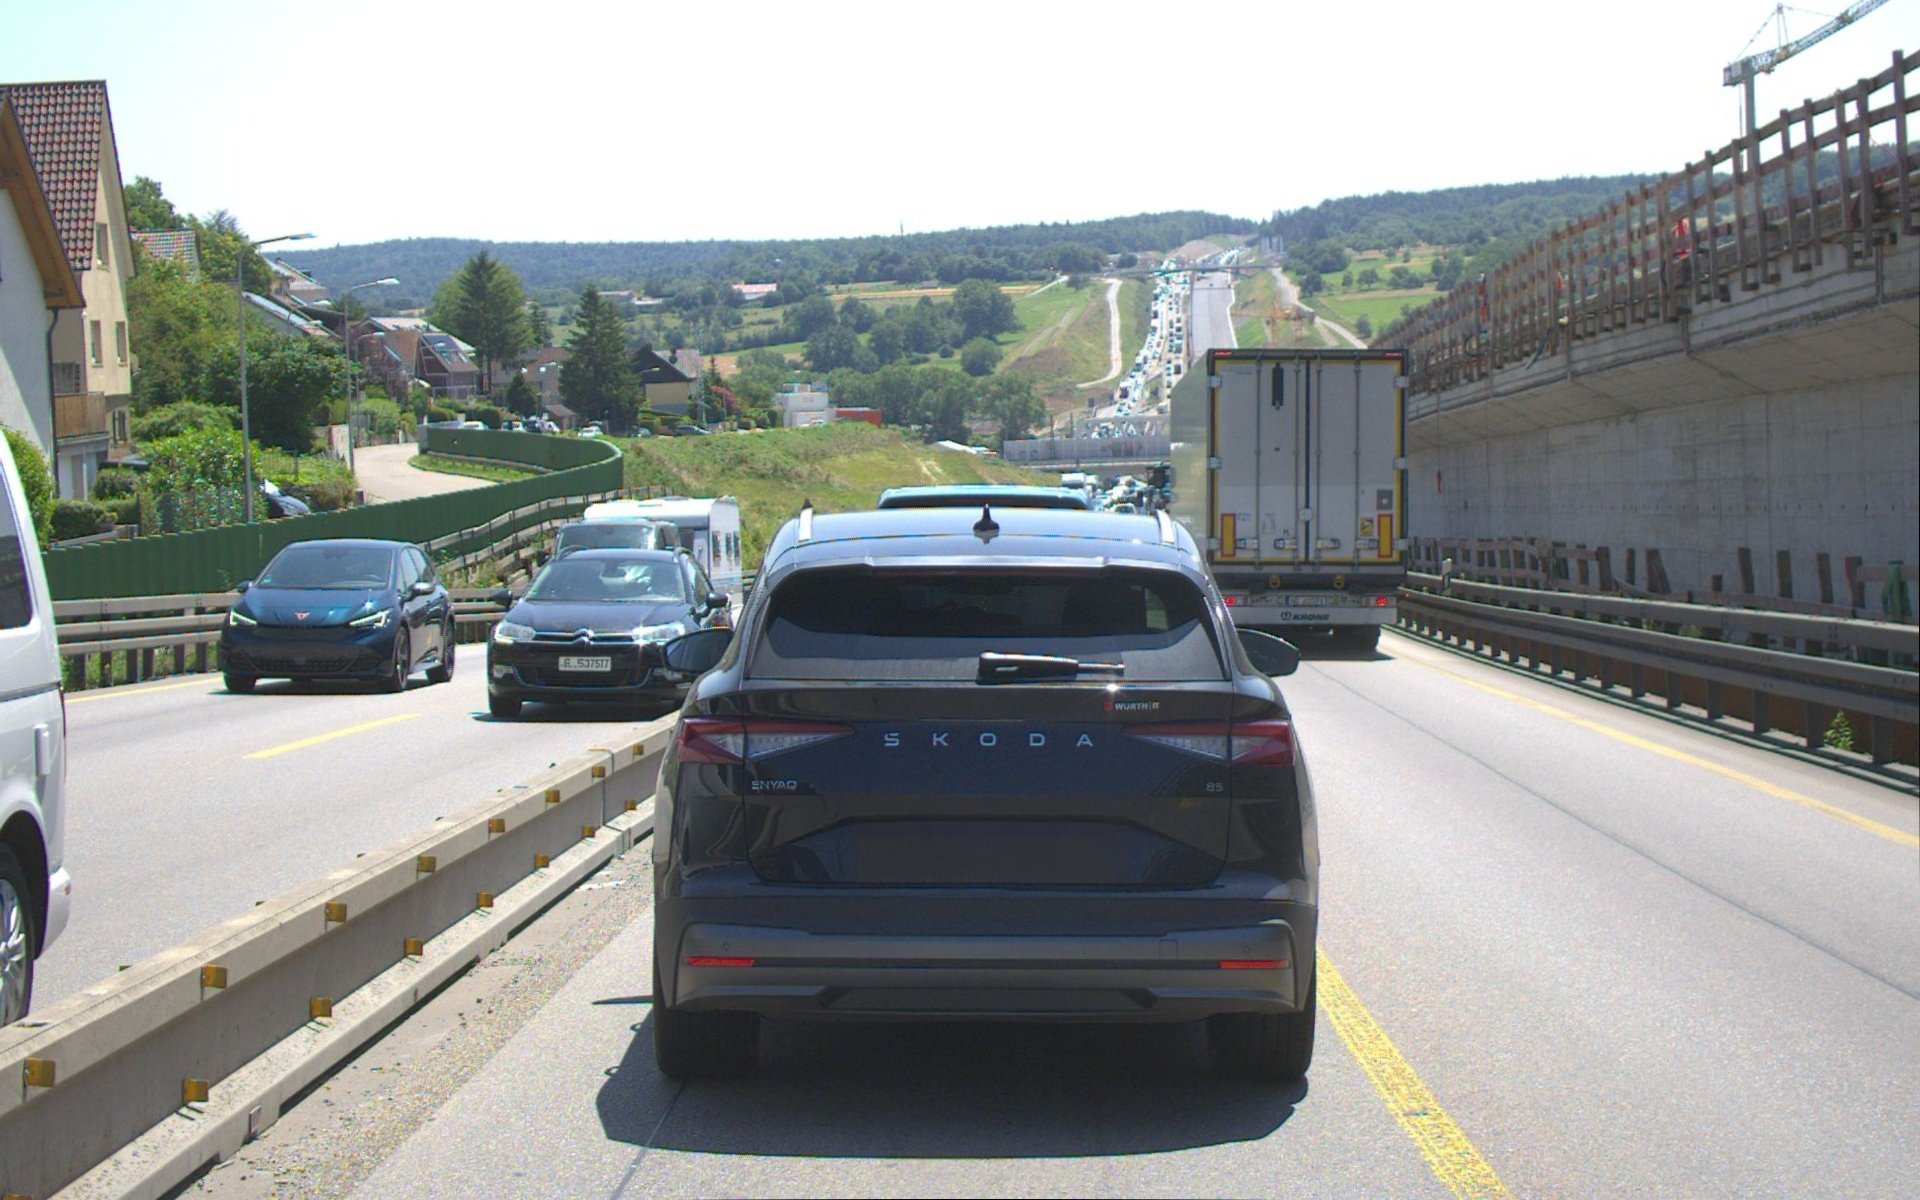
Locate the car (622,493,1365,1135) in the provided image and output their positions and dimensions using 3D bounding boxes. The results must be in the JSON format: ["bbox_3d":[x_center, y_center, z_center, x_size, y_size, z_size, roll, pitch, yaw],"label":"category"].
[{"bbox_3d":[-0.085,0.537,10.493,1.842,1.581,3.908,1,0,-5],"label":"car"}]

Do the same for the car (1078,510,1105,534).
[{"bbox_3d":[9.646,-5.722,252.505,1.844,1.579,3.836,1,0,1],"label":"car"}]

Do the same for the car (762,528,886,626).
[{"bbox_3d":[-2.249,-0.370,57.926,1.872,1.581,4.479,1,0,0],"label":"car"}]

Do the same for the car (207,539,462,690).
[{"bbox_3d":[-6.415,0.143,35.679,1.842,1.455,4.177,1,0,0],"label":"car"}]

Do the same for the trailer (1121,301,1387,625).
[{"bbox_3d":[4.036,-1.740,49.741,2.531,4.113,11.548,1,0,-1],"label":"trailer"}]

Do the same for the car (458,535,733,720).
[{"bbox_3d":[-3.153,0.231,30.630,1.993,1.499,4.649,1,0,-1],"label":"car"}]

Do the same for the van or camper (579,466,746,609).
[{"bbox_3d":[-5.435,-1.090,63.719,2.354,2.508,6.327,1,0,2],"label":"van or camper"}]

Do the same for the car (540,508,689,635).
[{"bbox_3d":[-5.631,-0.446,56.442,1.993,2.007,4.000,1,0,0],"label":"car"}]

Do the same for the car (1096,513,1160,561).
[{"bbox_3d":[5.820,-2.181,119.646,1.993,1.579,3.836,1,0,-1],"label":"car"}]

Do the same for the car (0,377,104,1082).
[{"bbox_3d":[-3.654,0.350,8.220,2.022,1.954,4.899,1,0,-1],"label":"car"}]

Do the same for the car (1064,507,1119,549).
[{"bbox_3d":[5.230,-2.879,137.298,1.993,1.579,3.836,1,0,-1],"label":"car"}]

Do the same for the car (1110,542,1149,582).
[{"bbox_3d":[7.561,-1.692,153.235,1.701,1.722,3.836,0,0,3],"label":"car"}]

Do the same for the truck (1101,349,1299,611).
[{"bbox_3d":[3.874,-1.841,57.120,2.513,4.011,8.238,1,0,-1],"label":"truck"}]

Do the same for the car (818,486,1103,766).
[{"bbox_3d":[-0.075,0.130,25.167,1.706,1.875,4.001,1,1,-5],"label":"car"}]

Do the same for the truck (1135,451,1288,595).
[{"bbox_3d":[5.962,-1.733,83.439,3.195,3.180,12.808,0,0,2],"label":"truck"}]
